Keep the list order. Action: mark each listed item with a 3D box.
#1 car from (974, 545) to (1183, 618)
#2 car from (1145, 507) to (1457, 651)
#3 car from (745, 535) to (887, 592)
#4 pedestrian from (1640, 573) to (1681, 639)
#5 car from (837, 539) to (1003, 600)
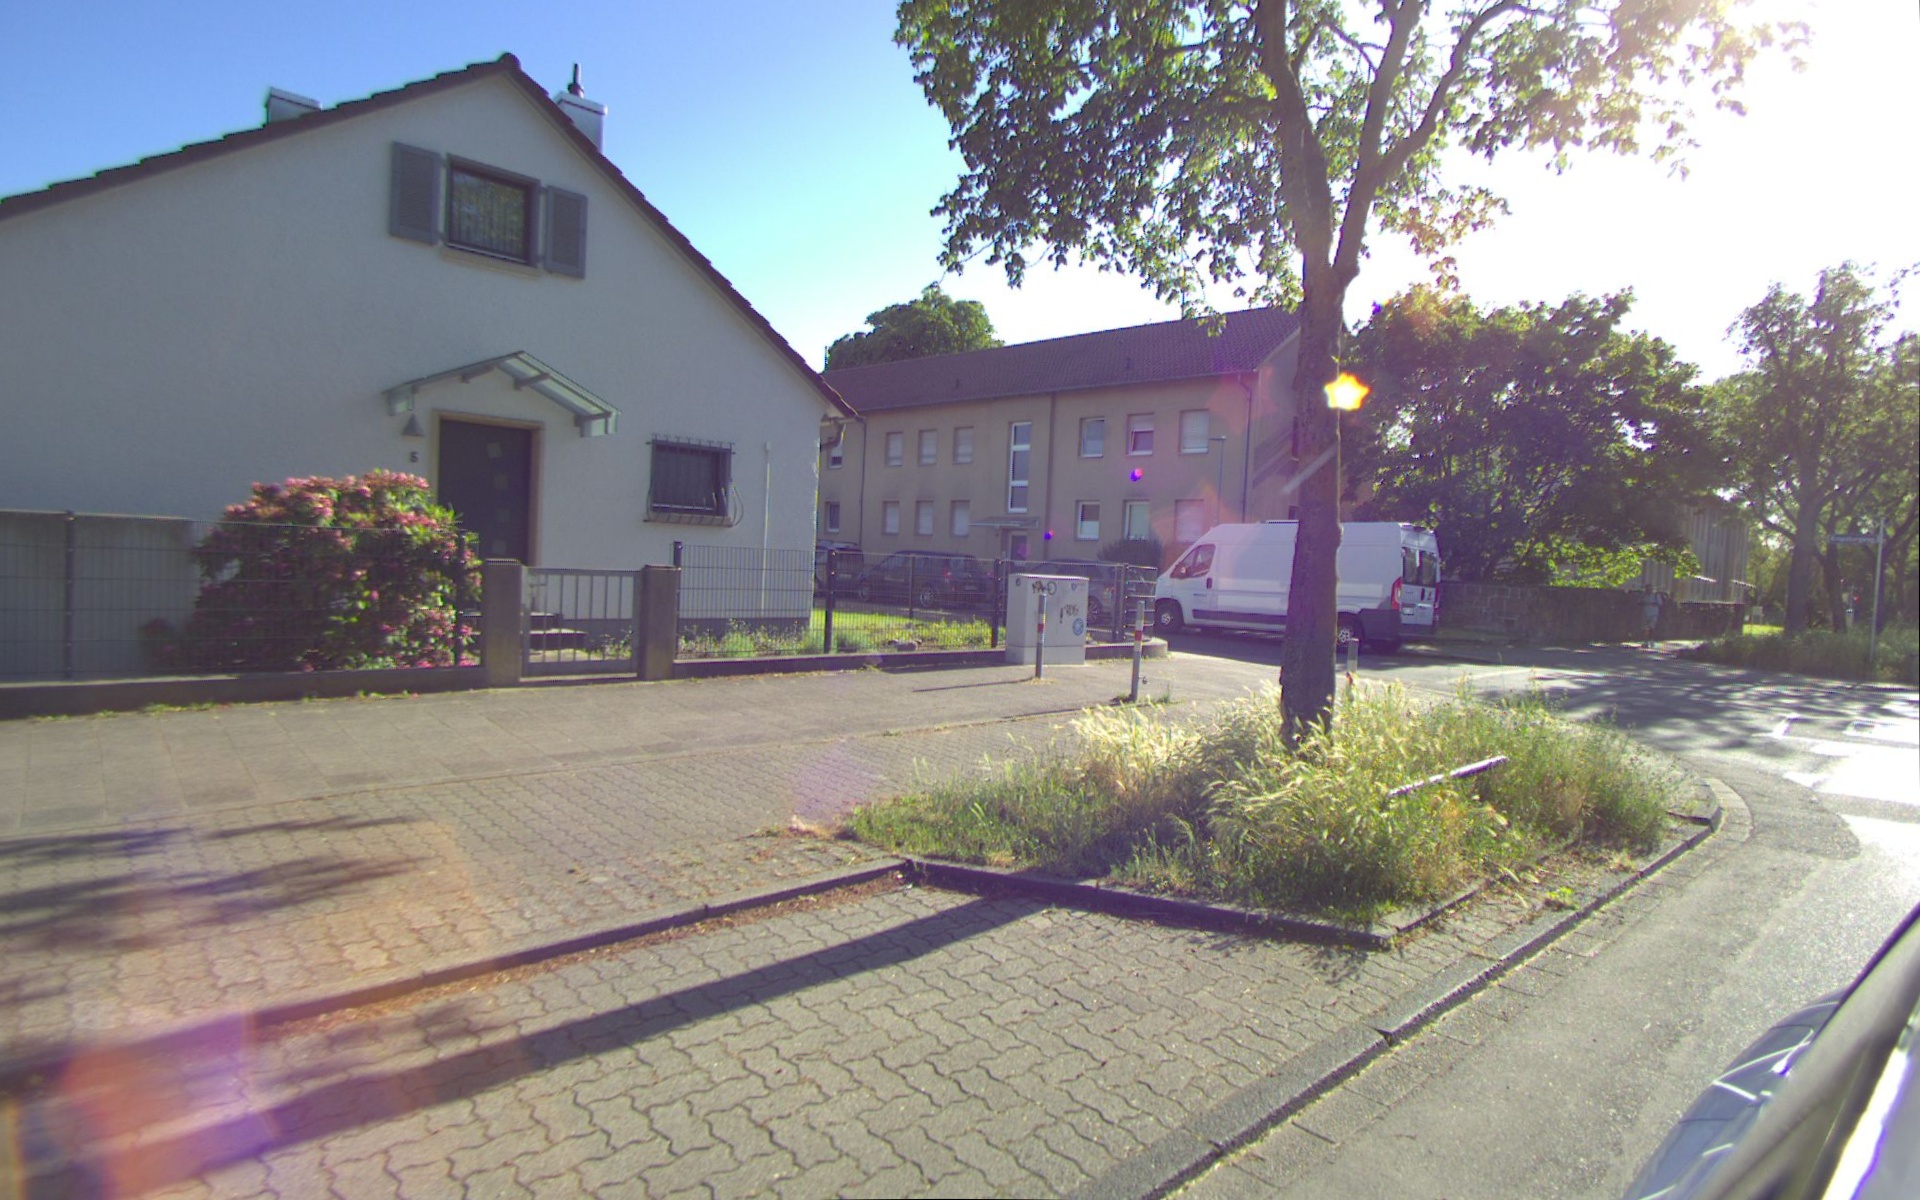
[{"bbox_3d":[2.846,-0.479,25.043,2.248,1.601,4.744,2,1,-45],"label":"car"},{"bbox_3d":[6.828,-0.549,20.831,2.229,2.570,5.601,1,3,-45],"label":"car"},{"bbox_3d":[-4.824,-1.216,33.486,2.248,1.708,4.744,2,1,-45],"label":"car"},{"bbox_3d":[19.234,0.171,27.791,0.602,1.726,0.638,2,4,-43],"label":"pedestrian"},{"bbox_3d":[-1.227,-0.957,29.498,2.249,1.600,4.744,-4,5,-44],"label":"car"}]
